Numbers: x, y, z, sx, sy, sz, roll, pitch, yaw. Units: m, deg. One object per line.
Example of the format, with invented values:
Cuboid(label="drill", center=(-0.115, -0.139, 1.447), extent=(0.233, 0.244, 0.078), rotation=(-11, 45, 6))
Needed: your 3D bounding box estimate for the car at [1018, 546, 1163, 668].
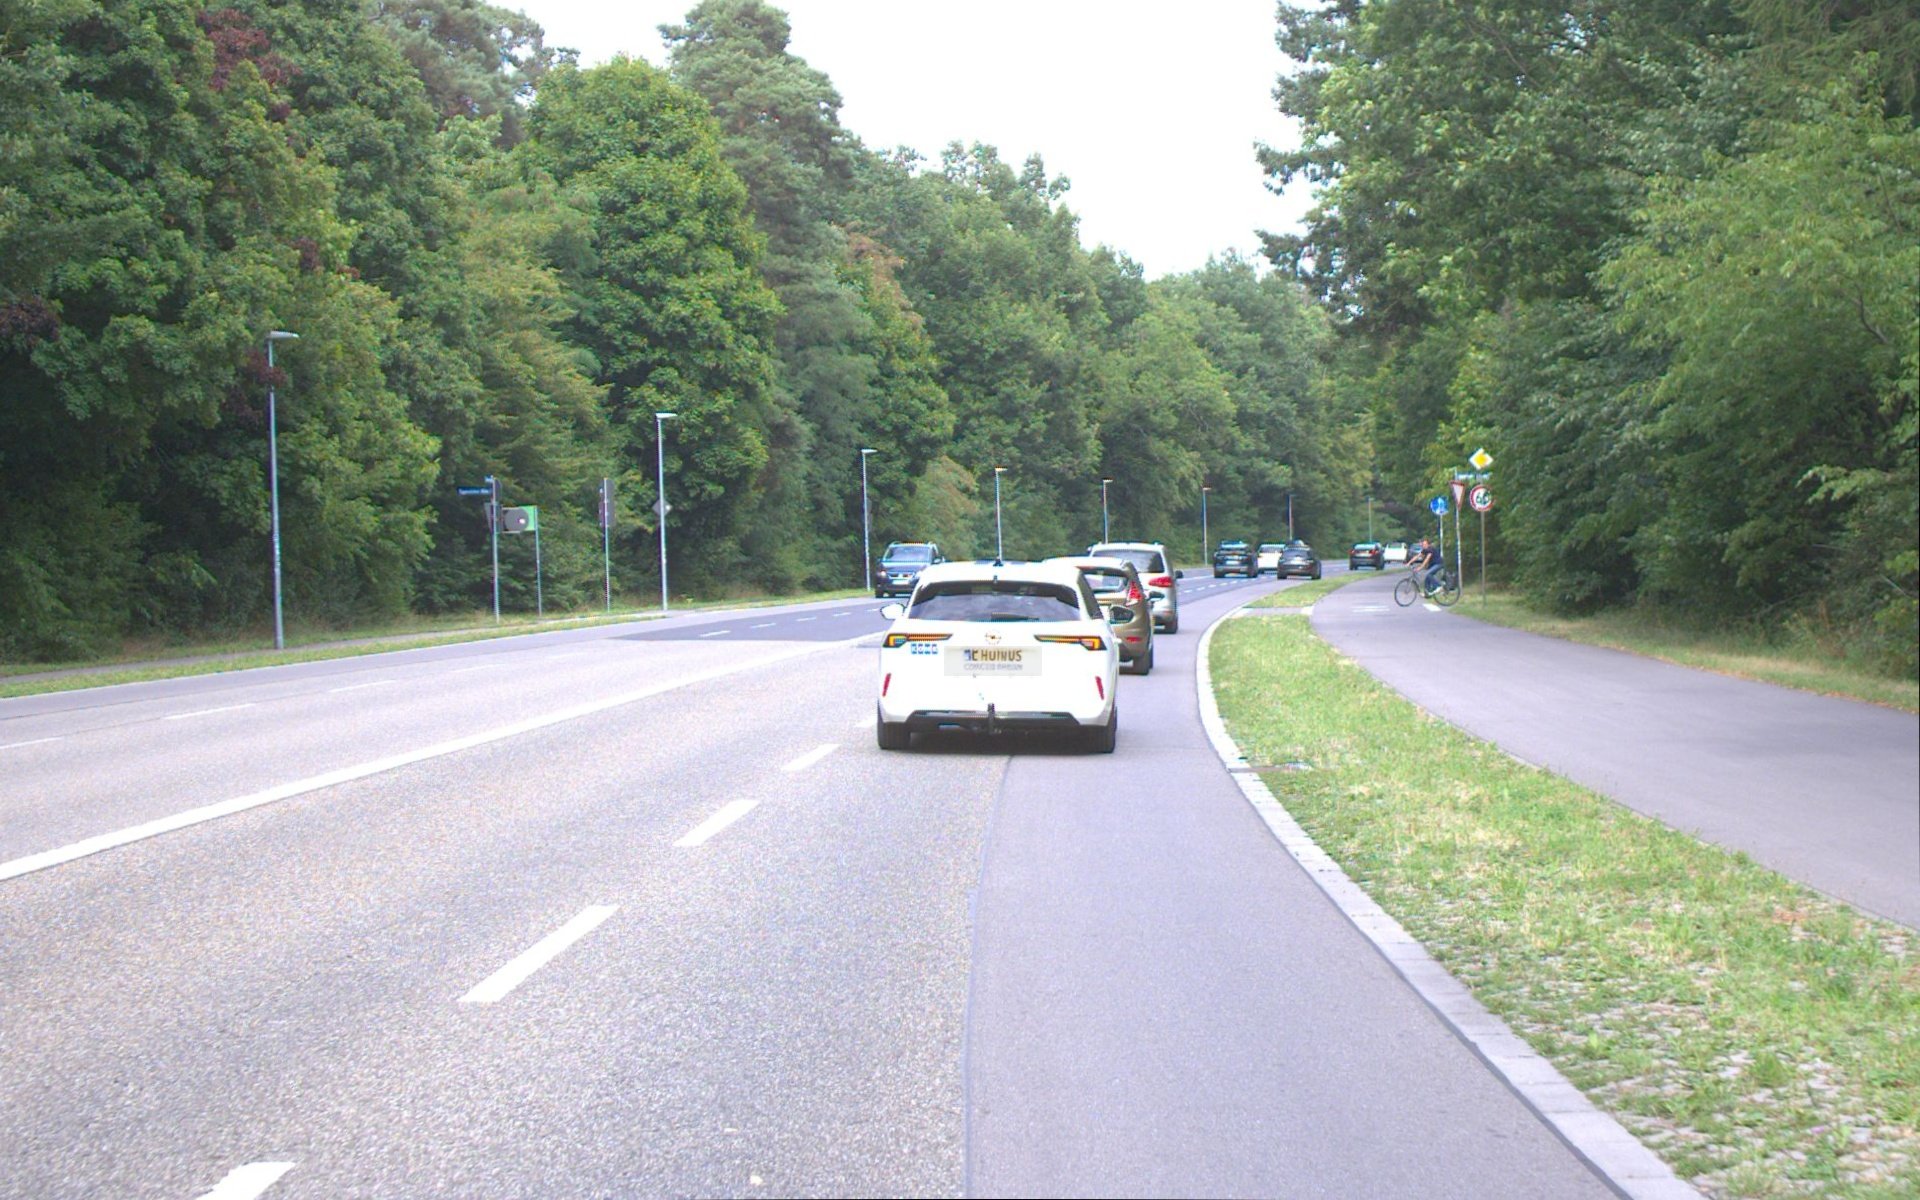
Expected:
Cuboid(label="car", center=(1.694, 0.085, 43.571), extent=(1.635, 1.415, 3.999), rotation=(2, 0, 4))

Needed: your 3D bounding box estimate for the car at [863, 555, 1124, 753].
Cuboid(label="car", center=(0.341, 0.376, 26.801), extent=(1.836, 1.405, 4.490), rotation=(0, 0, 3))

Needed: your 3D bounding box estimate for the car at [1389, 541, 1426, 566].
Cuboid(label="car", center=(30.527, -3.159, 234.291), extent=(1.995, 1.700, 3.997), rotation=(0, 1, 15))

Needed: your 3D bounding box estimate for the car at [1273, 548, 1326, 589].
Cuboid(label="car", center=(15.675, -1.462, 158.485), extent=(1.994, 1.777, 3.998), rotation=(2, 0, 11))

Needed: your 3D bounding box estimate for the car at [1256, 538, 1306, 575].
Cuboid(label="car", center=(16.966, -2.291, 181.587), extent=(1.995, 1.777, 3.997), rotation=(2, 0, 14))

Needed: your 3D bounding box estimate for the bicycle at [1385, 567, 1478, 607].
Cuboid(label="bicycle", center=(11.750, -0.329, 85.701), extent=(2.173, 0.991, 0.711), rotation=(0, 0, -12))

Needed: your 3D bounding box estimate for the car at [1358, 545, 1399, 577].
Cuboid(label="car", center=(24.833, -2.330, 203.798), extent=(1.995, 1.777, 3.998), rotation=(2, 0, 12))

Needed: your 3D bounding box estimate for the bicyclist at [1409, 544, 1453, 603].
Cuboid(label="bicyclist", center=(11.742, -0.657, 85.686), extent=(0.898, 1.465, 0.711), rotation=(0, 0, -12))

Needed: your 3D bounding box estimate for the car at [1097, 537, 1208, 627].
Cuboid(label="car", center=(3.641, -0.328, 65.214), extent=(1.994, 1.601, 3.999), rotation=(2, 0, 3))

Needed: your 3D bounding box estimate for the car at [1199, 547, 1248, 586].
Cuboid(label="car", center=(12.609, -1.595, 164.078), extent=(1.994, 1.777, 3.998), rotation=(2, 0, 9))

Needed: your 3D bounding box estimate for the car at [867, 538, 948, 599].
Cuboid(label="car", center=(-1.613, -0.969, 106.836), extent=(1.994, 1.785, 4.747), rotation=(2, 0, 5))
